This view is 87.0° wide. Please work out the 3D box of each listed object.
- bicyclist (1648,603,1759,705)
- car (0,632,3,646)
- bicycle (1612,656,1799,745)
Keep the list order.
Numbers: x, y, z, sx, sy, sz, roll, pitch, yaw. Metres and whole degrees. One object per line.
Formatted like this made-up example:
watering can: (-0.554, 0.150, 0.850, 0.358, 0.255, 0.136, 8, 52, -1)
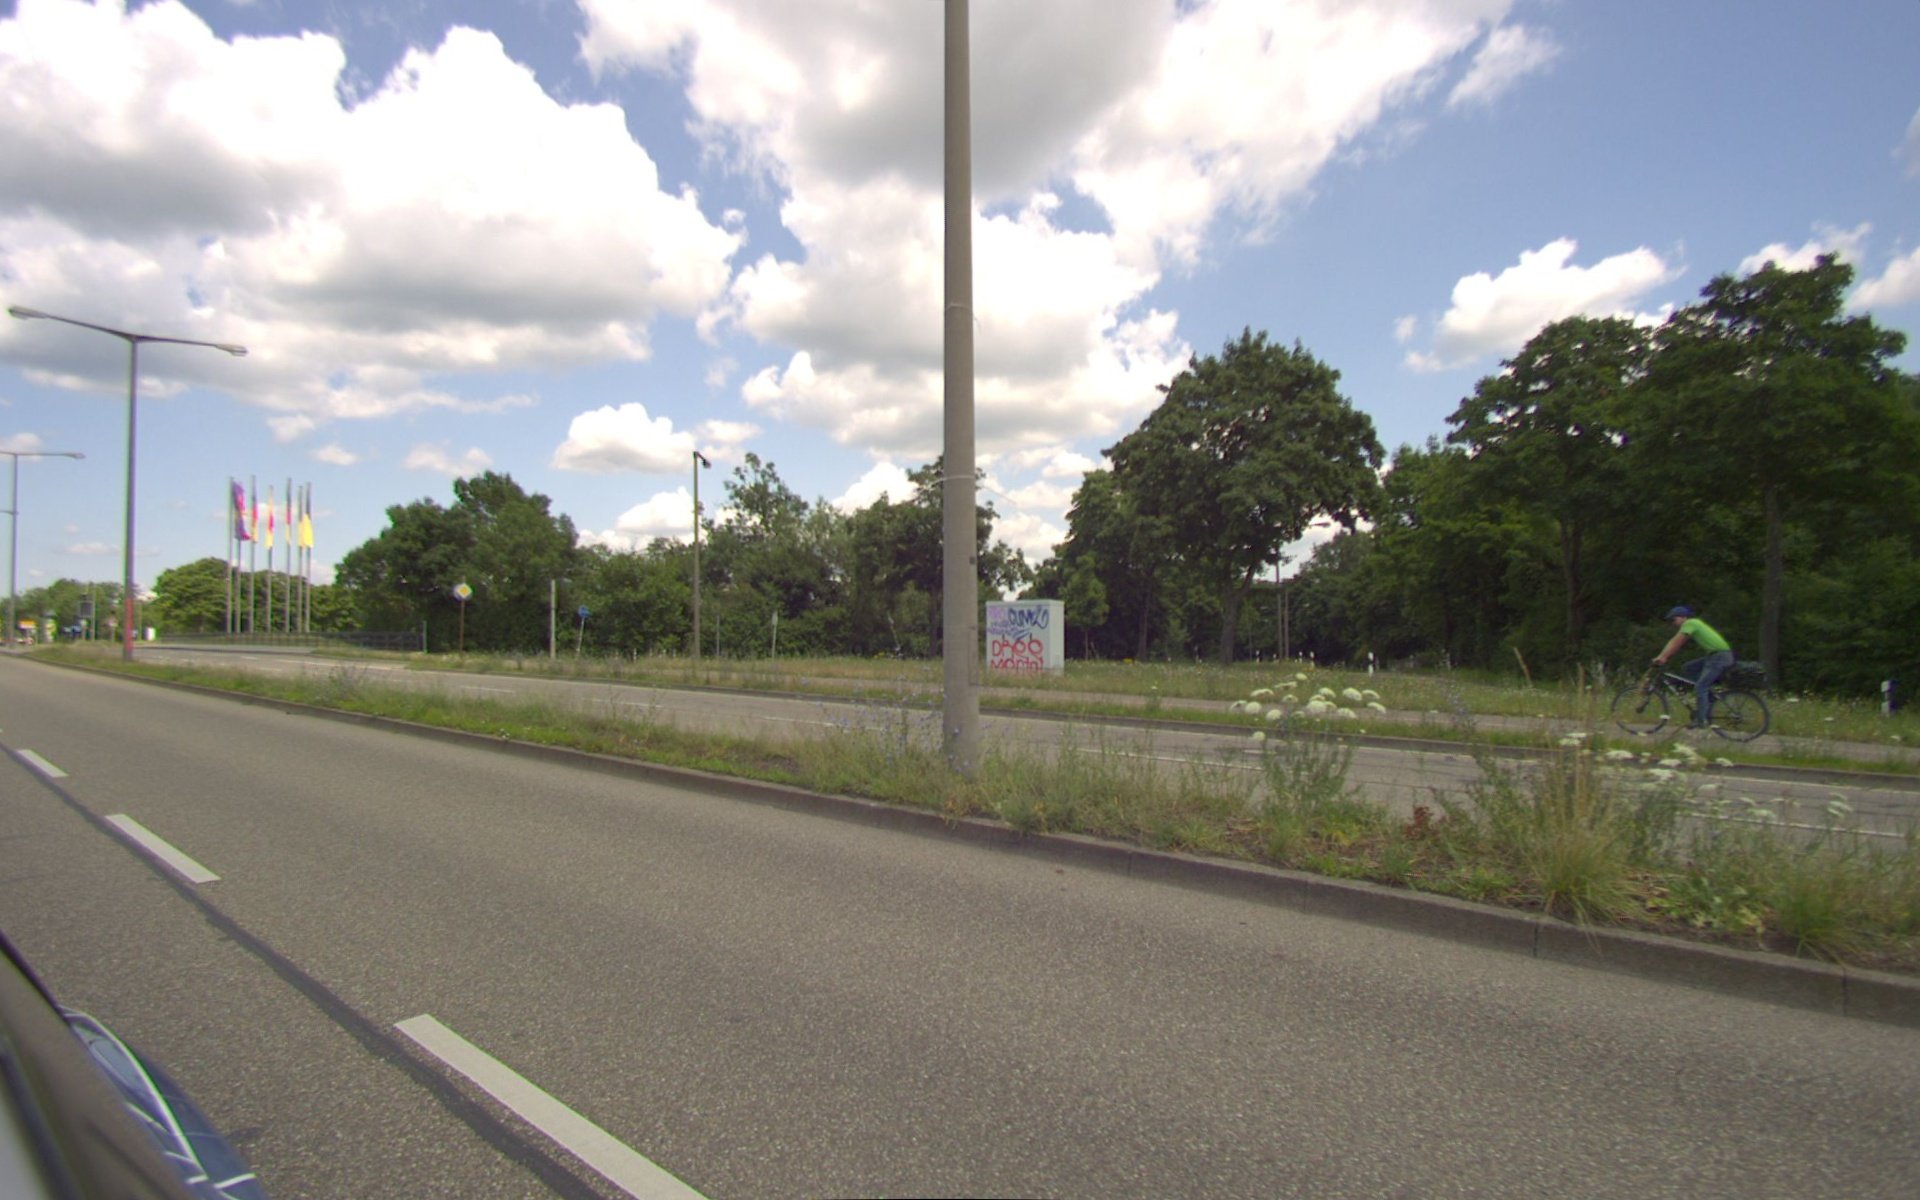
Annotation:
bicyclist: (9.736, 0.697, 13.265, 1.105, 1.282, 0.515, -3, -2, 38)
car: (-117.594, 4.667, 122.333, 4.544, 1.639, 2.068, -2, -8, 39)
bicycle: (9.726, 1.289, 13.267, 1.905, 1.076, 0.427, -3, -2, 38)
